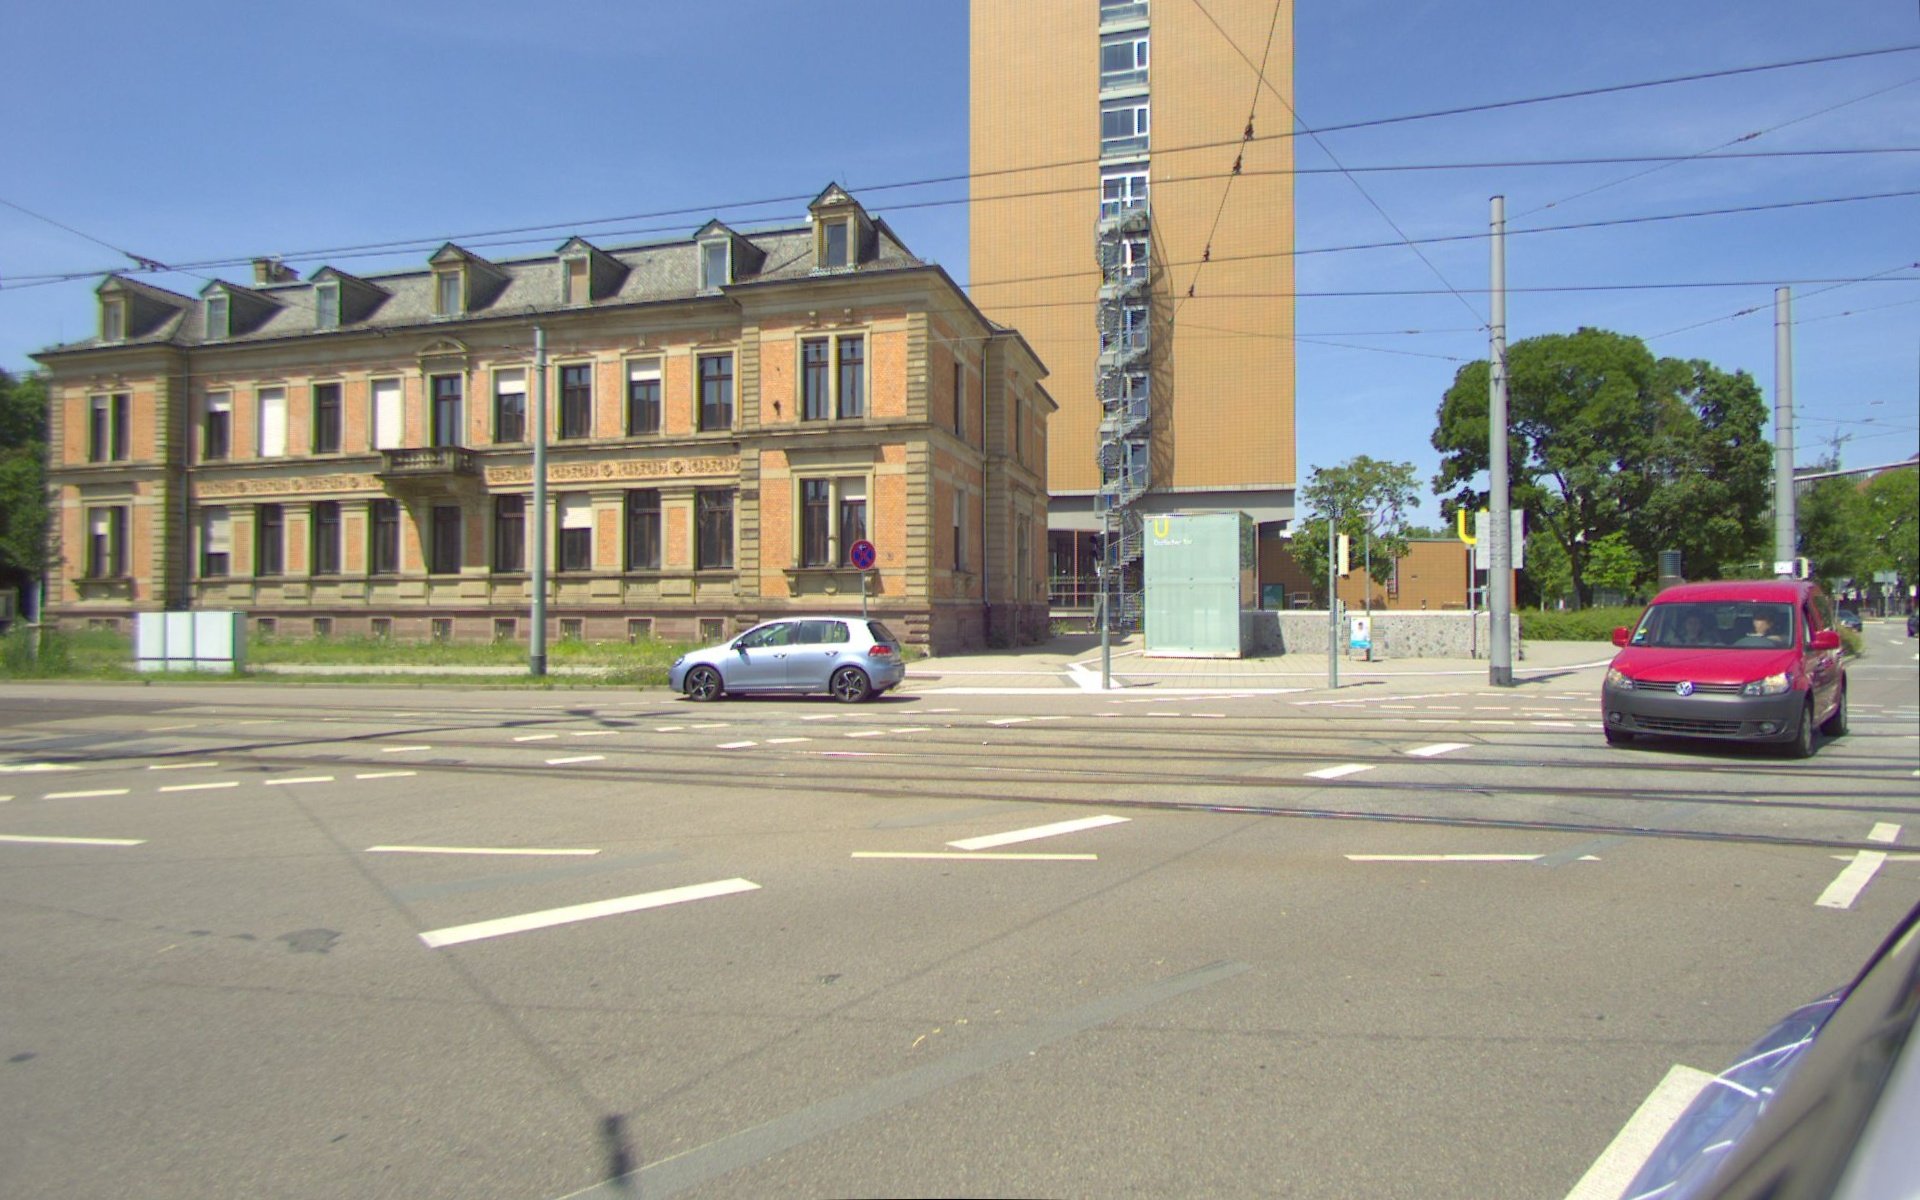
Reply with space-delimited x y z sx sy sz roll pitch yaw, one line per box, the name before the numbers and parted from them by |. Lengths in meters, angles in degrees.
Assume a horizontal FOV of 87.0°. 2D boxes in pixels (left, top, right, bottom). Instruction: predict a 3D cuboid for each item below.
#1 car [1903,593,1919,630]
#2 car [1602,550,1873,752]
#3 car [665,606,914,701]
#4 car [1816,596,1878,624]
car | 53.123 0.629 54.721 1.979 2.039 3.965 -1 -1 25
car | 8.999 0.489 11.569 4.468 1.883 1.653 0 -1 -42
car | -2.888 0.905 17.499 3.935 1.478 1.653 -2 -2 7
car | 59.194 0.649 67.589 1.979 1.772 3.965 -3 -1 25
